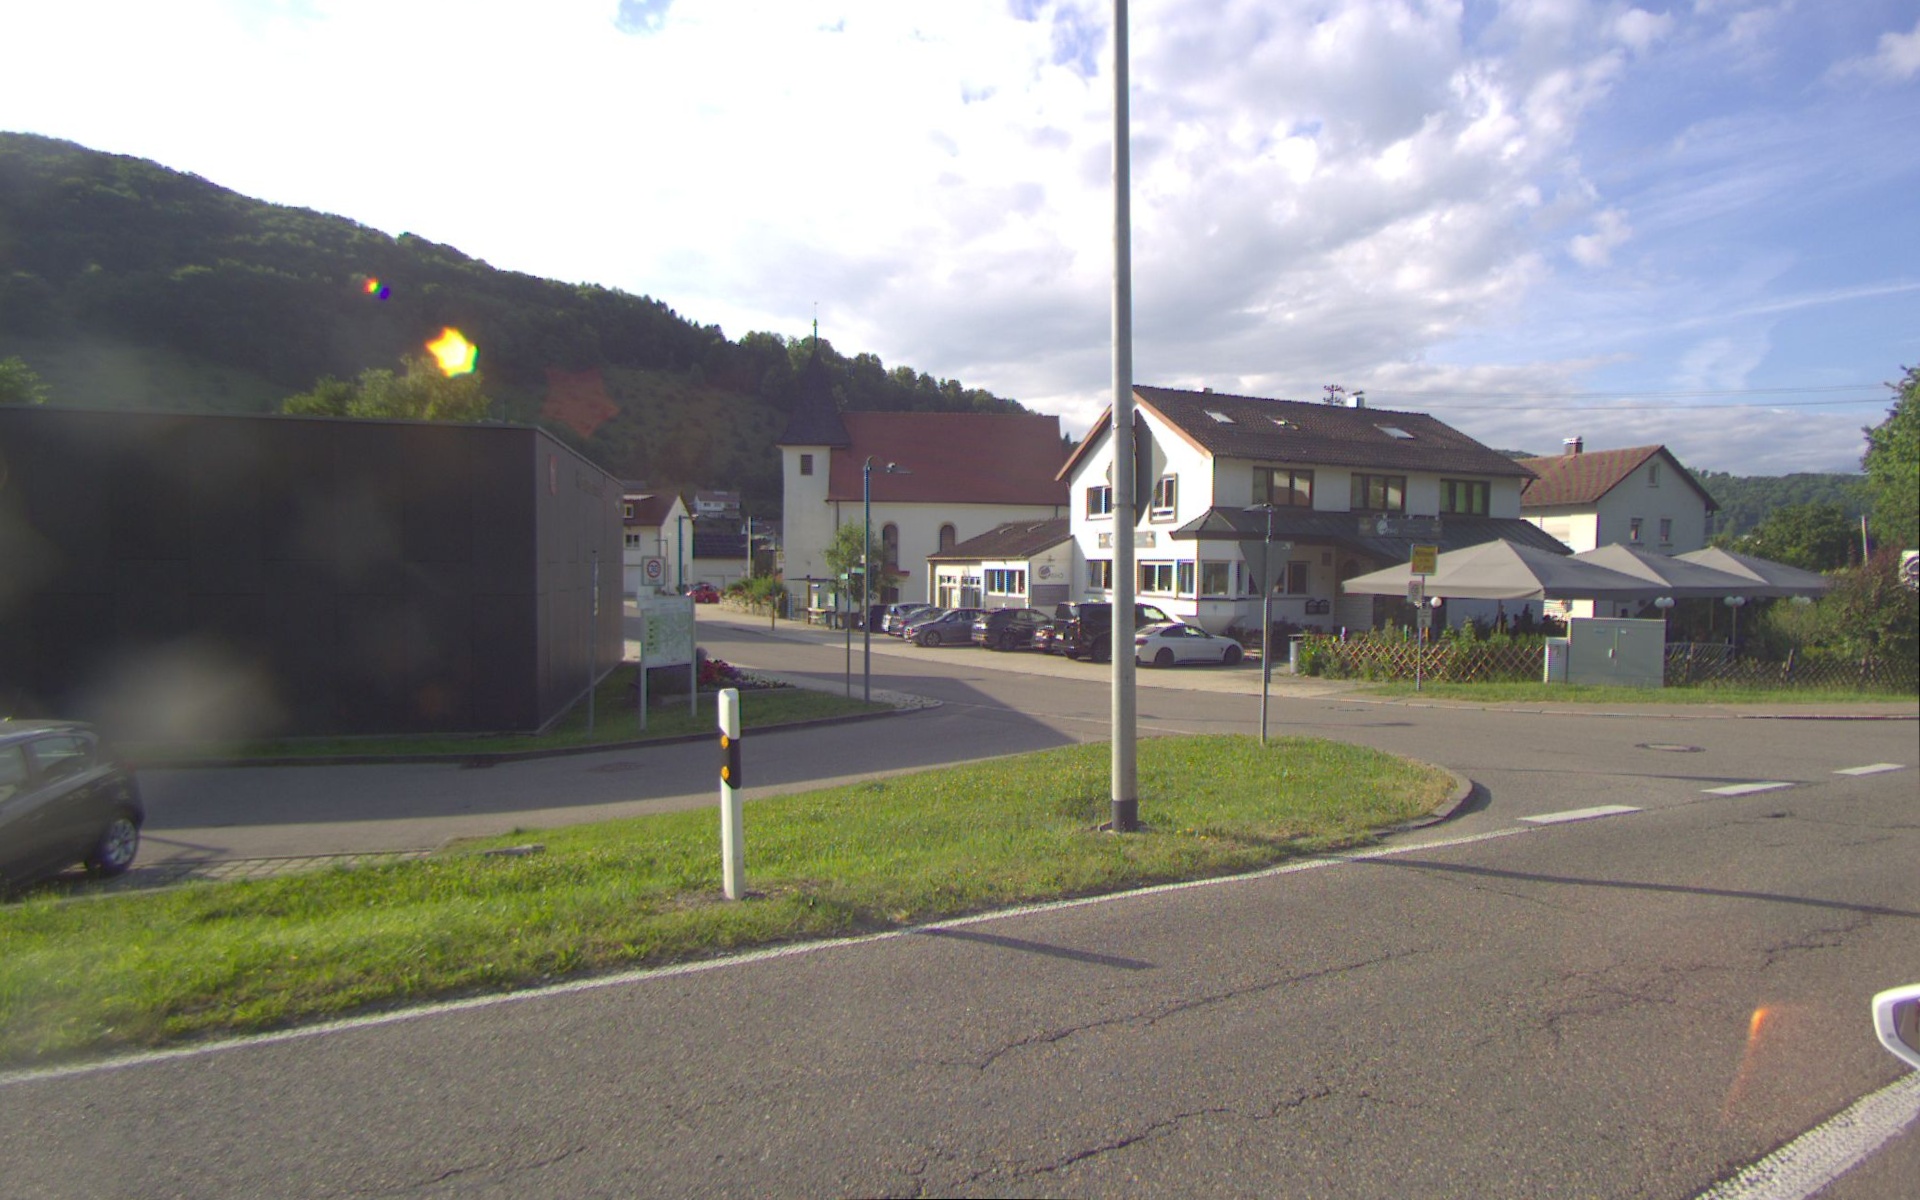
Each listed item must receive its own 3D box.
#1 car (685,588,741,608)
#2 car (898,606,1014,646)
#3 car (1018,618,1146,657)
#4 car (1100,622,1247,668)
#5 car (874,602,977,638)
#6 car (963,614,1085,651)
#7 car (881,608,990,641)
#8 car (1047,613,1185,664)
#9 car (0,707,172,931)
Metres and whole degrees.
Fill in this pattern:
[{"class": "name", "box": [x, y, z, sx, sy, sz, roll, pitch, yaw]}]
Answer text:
[{"class": "car", "box": [-19.766, -0.135, 80.433, 1.972, 1.528, 3.977, 1, 0, 43]}, {"class": "car", "box": [-0.164, 1.098, 42.321, 4.518, 1.618, 1.986, 1, -1, -27]}, {"class": "car", "box": [4.665, 1.416, 38.246, 4.518, 1.408, 1.986, 1, -1, -27]}, {"class": "car", "box": [7.012, 1.440, 32.924, 4.518, 1.408, 1.986, 1, -1, -27]}, {"class": "car", "box": [-1.645, 0.977, 48.082, 4.518, 1.665, 1.986, 1, -1, -27]}, {"class": "car", "box": [2.552, 1.280, 40.177, 4.518, 1.431, 1.986, 1, -1, -27]}, {"class": "car", "box": [-1.103, 1.093, 45.484, 4.518, 1.431, 1.986, 1, -1, -27]}, {"class": "car", "box": [5.474, 1.321, 35.130, 4.518, 1.707, 1.986, 1, -1, -27]}, {"class": "car", "box": [-8.503, 1.825, 8.065, 1.801, 1.555, 3.992, 1, -1, -12]}]
